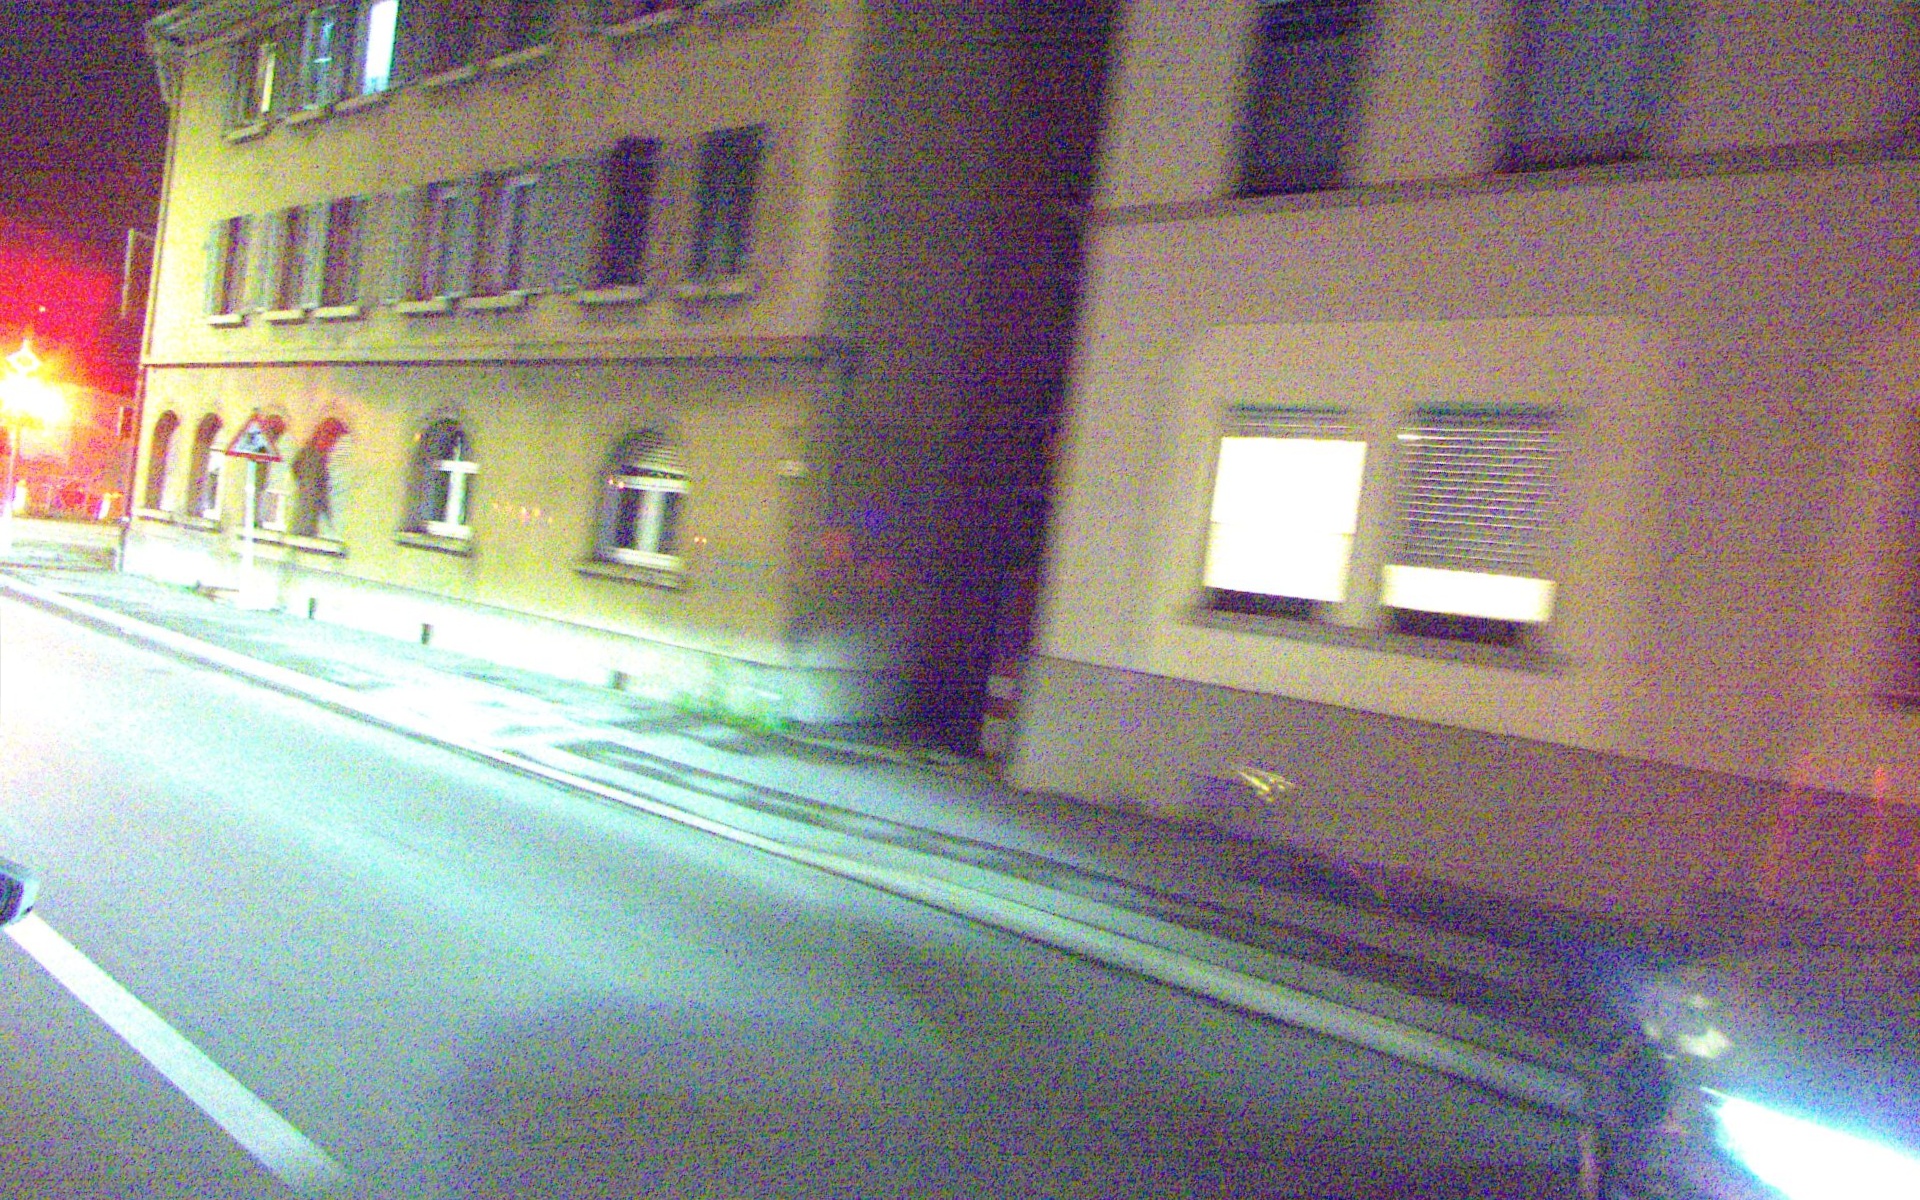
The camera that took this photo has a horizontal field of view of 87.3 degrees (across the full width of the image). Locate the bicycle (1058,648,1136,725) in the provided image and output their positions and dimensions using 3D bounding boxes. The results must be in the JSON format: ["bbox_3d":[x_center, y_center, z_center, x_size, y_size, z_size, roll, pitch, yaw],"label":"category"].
[{"bbox_3d":[2.096,1.319,15.186,0.380,1.074,1.586,7,-1,35],"label":"bicycle"}]

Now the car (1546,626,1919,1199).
[{"bbox_3d":[3.215,1.115,1.221,4.158,1.629,1.673,6,-1,30],"label":"car"}]

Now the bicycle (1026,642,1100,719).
[{"bbox_3d":[1.569,1.221,15.116,0.350,1.074,1.418,7,-1,35],"label":"bicycle"}]
